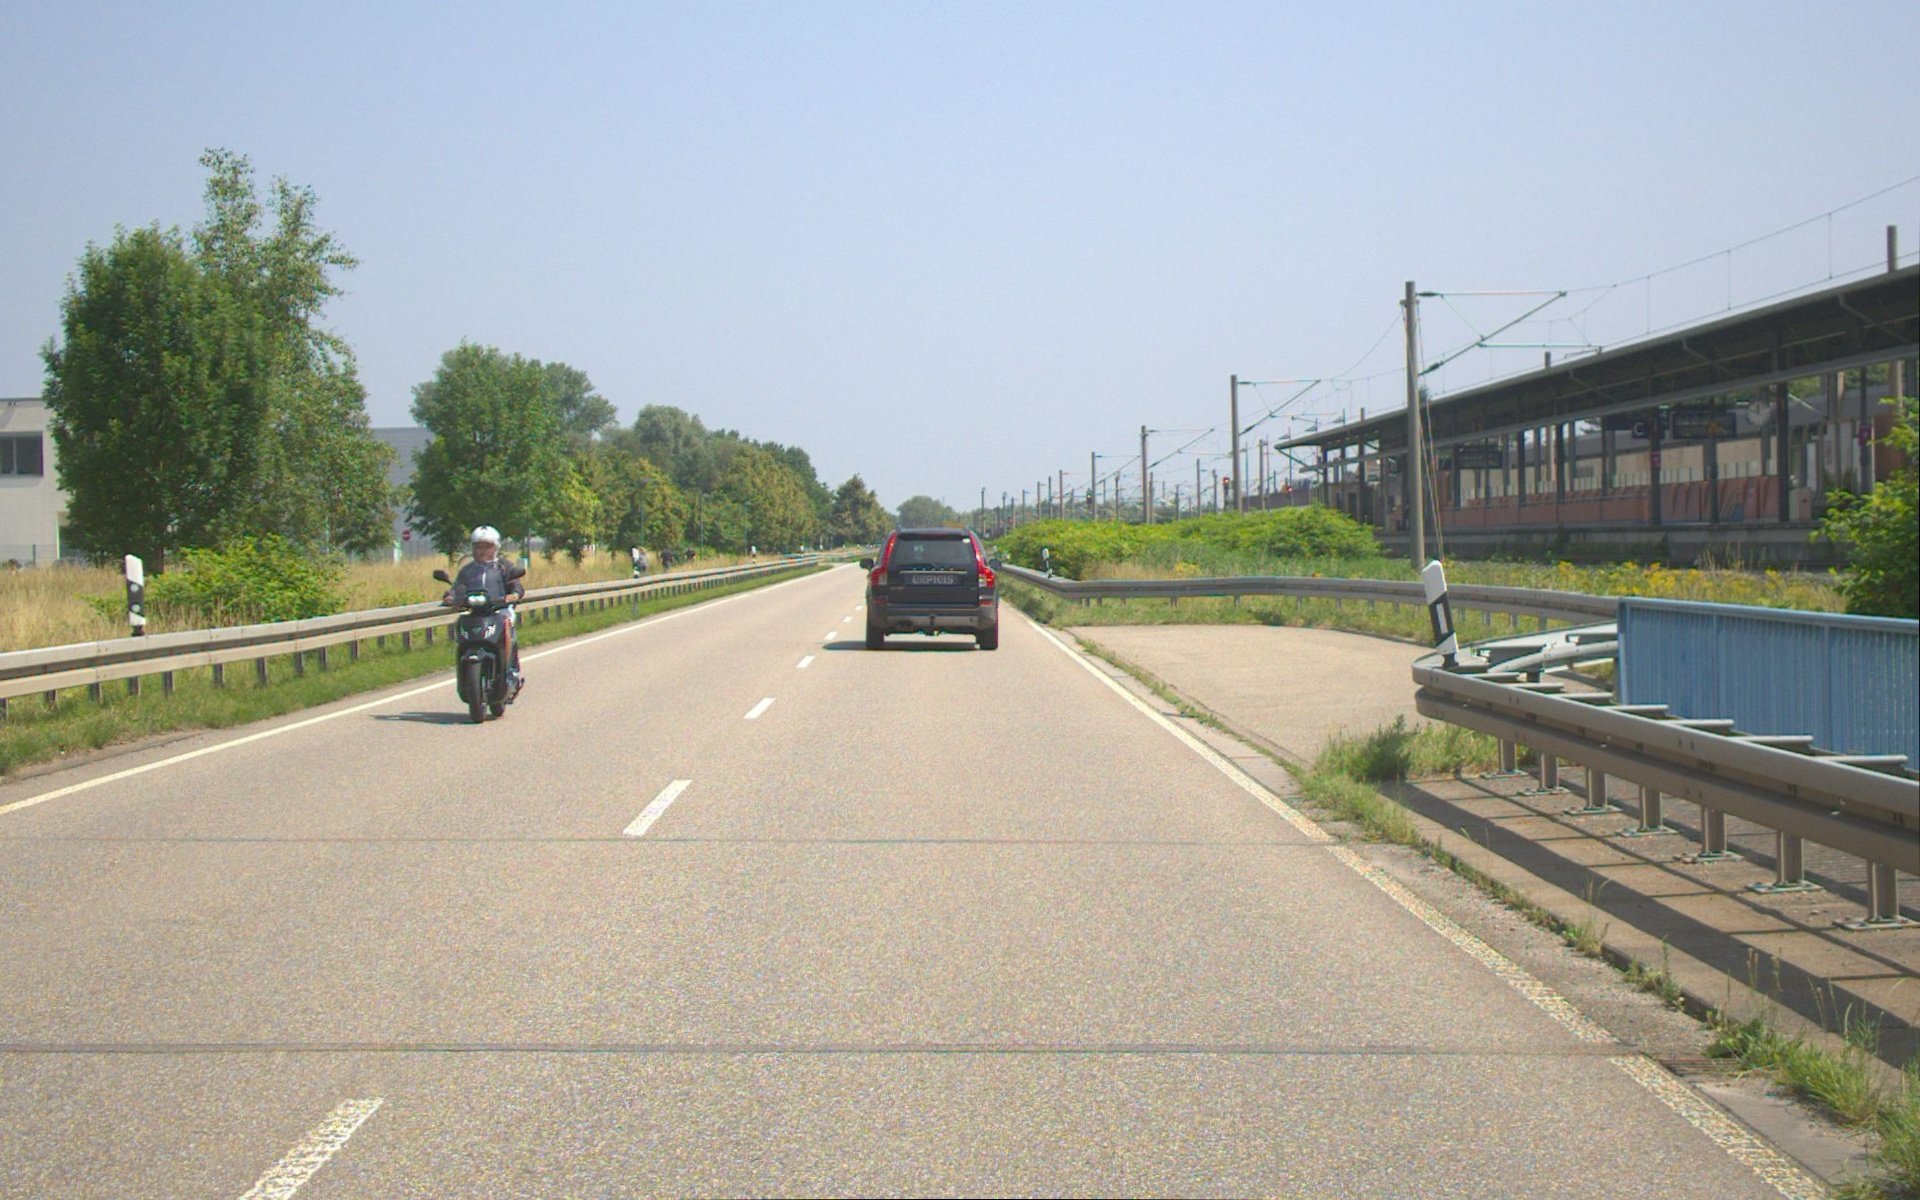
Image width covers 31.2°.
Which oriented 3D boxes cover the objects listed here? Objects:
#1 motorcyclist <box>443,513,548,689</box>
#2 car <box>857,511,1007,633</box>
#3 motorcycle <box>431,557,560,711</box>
[{"bbox_3d":[-3.932,-0.001,29.172,0.726,1.460,0.987,0,1,2],"label":"motorcyclist"},{"bbox_3d":[-0.445,-0.430,49.605,1.993,1.694,4.001,0,1,-3],"label":"car"},{"bbox_3d":[-3.928,0.262,29.214,0.689,1.230,2.369,1,1,2],"label":"motorcycle"}]
